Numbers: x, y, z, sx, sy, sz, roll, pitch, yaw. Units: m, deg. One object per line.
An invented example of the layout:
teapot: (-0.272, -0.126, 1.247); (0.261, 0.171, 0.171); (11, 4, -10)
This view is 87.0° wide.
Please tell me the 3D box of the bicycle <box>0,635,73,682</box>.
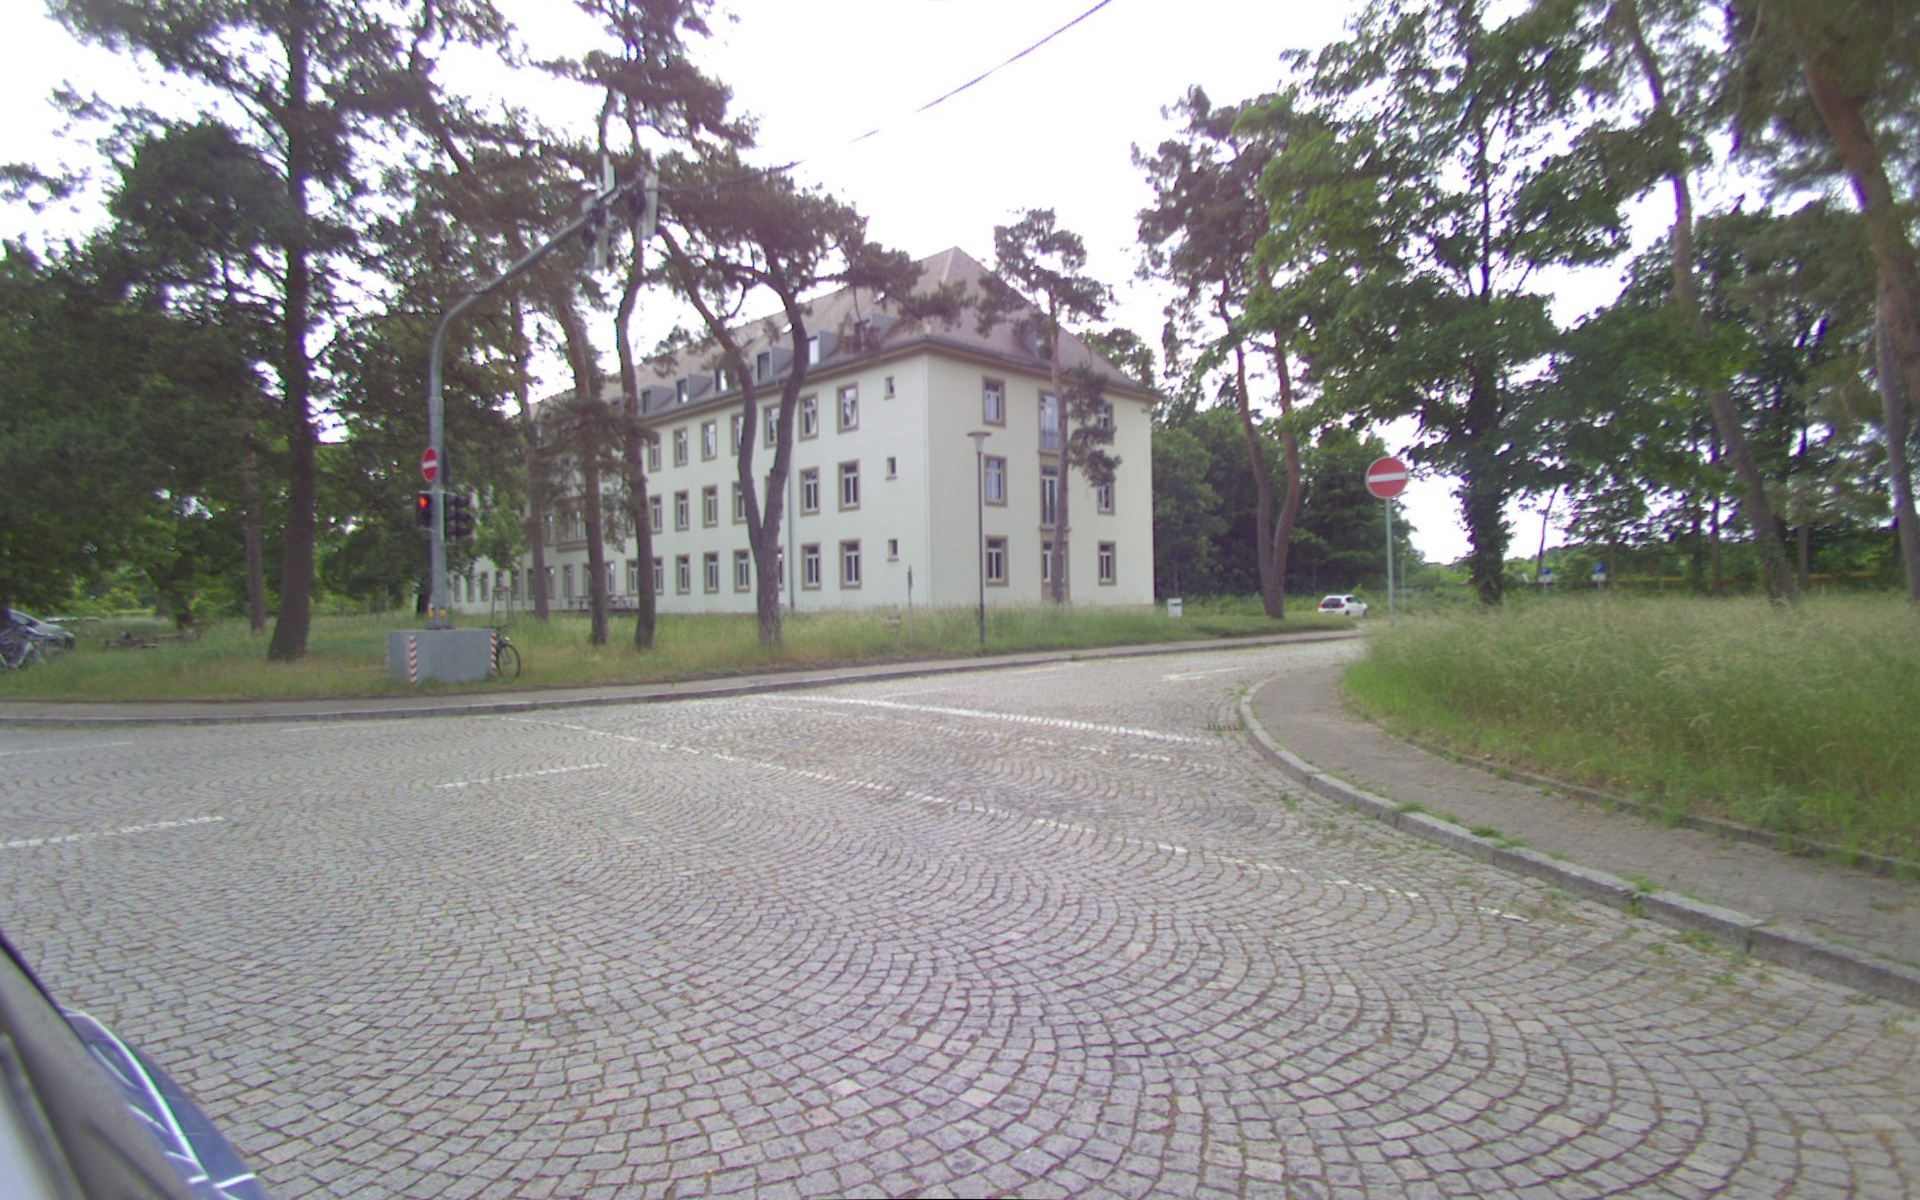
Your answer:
bicycle: (-22.970, 1.428, 24.704); (0.563, 1.073, 1.924); (-1, 0, 43)

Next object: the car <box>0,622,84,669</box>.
car: (-31.649, 1.525, 33.829); (1.913, 1.460, 3.393); (-1, 0, 43)

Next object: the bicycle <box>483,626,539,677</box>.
bicycle: (-8.249, 0.946, 18.596); (1.047, 0.923, 0.291); (-1, 0, 23)

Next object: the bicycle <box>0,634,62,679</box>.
bicycle: (-23.863, 1.428, 25.395); (0.563, 1.073, 1.924); (-1, 0, 43)

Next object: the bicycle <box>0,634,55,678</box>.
bicycle: (-24.323, 1.431, 25.707); (0.563, 1.073, 1.924); (-1, 0, 43)

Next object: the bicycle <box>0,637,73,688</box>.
bicycle: (-21.489, 1.423, 23.045); (0.616, 1.073, 1.873); (-1, 0, 43)

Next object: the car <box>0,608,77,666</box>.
car: (-34.905, 1.340, 35.707); (2.287, 2.014, 5.301); (-1, 0, 36)

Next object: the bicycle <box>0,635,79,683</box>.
bicycle: (-22.566, 1.426, 24.422); (0.563, 1.073, 1.924); (-1, 0, 43)

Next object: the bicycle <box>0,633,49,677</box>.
bicycle: (-24.872, 1.434, 26.158); (0.563, 1.073, 1.924); (-1, 0, 43)

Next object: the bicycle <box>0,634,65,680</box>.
bicycle: (-23.464, 1.426, 25.030); (0.563, 1.073, 1.924); (-1, 0, 43)

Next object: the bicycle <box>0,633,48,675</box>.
bicycle: (-25.381, 1.436, 26.678); (0.563, 1.073, 1.924); (-1, 0, 43)

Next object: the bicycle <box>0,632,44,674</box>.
bicycle: (-25.893, 1.439, 27.123); (0.563, 1.073, 1.924); (-1, 0, 43)

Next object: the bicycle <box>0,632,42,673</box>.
bicycle: (-26.315, 1.440, 27.551); (0.563, 1.073, 1.924); (-1, 0, 43)

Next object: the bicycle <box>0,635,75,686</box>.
bicycle: (-21.846, 1.401, 23.476); (0.563, 1.119, 1.924); (-1, 0, 43)

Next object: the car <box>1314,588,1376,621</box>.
car: (22.170, 0.233, 58.191); (3.939, 1.820, 1.724); (-1, 0, -43)

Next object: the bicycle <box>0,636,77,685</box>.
bicycle: (-22.165, 1.425, 23.905); (0.563, 1.073, 1.924); (-1, 0, 43)
